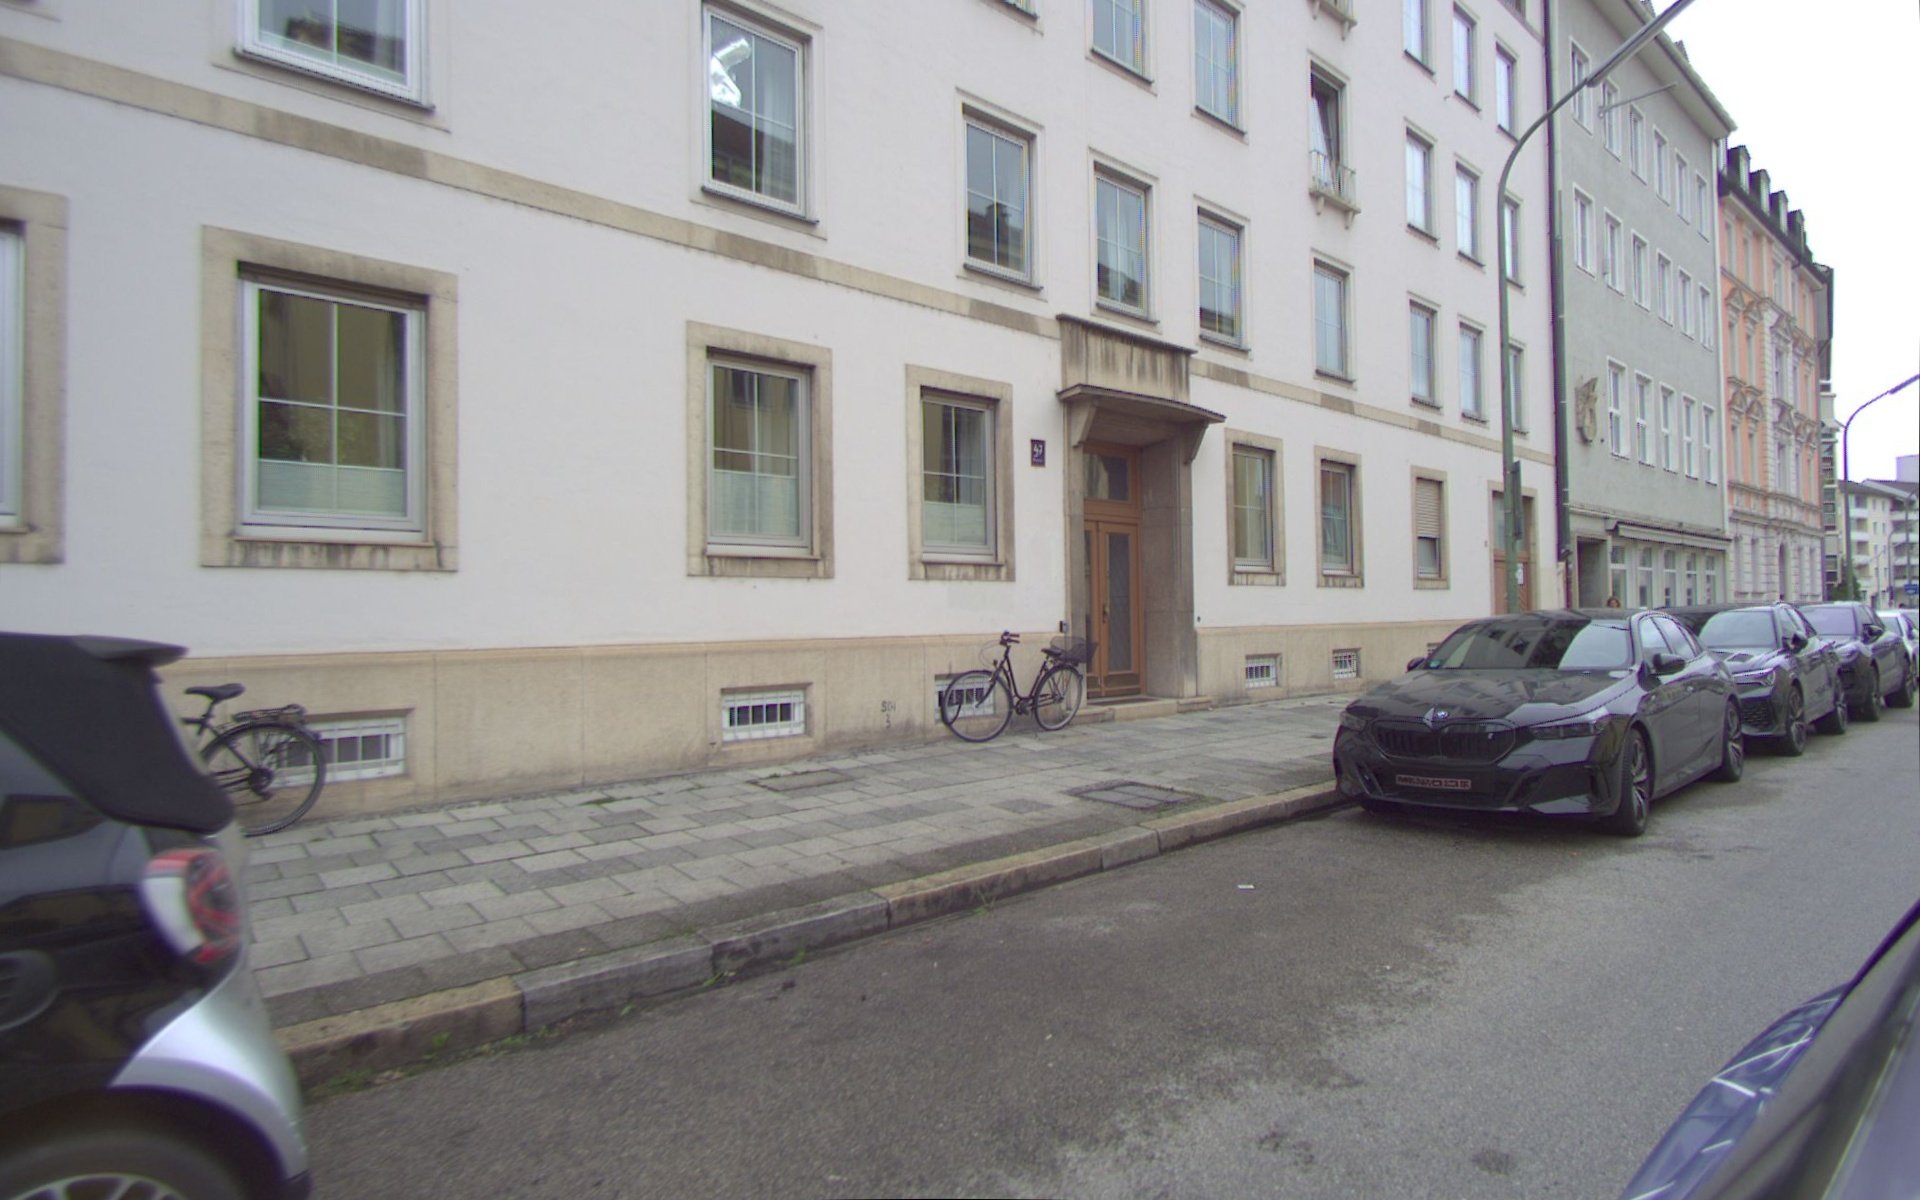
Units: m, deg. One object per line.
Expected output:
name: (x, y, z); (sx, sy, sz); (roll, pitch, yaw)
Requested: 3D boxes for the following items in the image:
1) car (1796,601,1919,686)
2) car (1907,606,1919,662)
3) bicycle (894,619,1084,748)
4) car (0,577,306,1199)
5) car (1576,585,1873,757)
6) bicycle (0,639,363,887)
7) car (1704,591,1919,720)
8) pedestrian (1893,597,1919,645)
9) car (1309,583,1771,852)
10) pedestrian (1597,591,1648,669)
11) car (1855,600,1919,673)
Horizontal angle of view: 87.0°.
car: (17.718, 0.800, 19.539); (4.011, 1.483, 1.694); (0, -3, -41)
car: (27.362, 0.861, 27.573); (4.010, 1.470, 1.695); (0, -3, -40)
bicycle: (0.331, 0.775, 10.129); (1.993, 1.141, 0.660); (0, 0, -41)
car: (-3.264, 0.786, 1.378); (3.813, 1.555, 1.673); (0, -4, -41)
car: (8.810, 0.709, 11.539); (4.196, 1.605, 1.781); (0, -3, -41)
bicycle: (-4.584, 0.849, 5.723); (1.993, 1.178, 0.660); (0, 0, -41)
car: (12.523, 0.736, 14.659); (4.252, 1.605, 1.781); (0, -3, -40)
pedestrian: (33.962, 0.755, 36.149); (0.636, 1.684, 0.862); (1, -2, -41)
car: (4.898, 0.721, 8.195); (4.734, 1.564, 1.857); (0, -3, -43)
pedestrian: (14.389, 0.641, 21.984); (0.813, 1.646, 0.735); (1, 0, -40)
car: (22.351, 0.808, 23.668); (4.015, 1.604, 1.693); (0, -3, -44)
